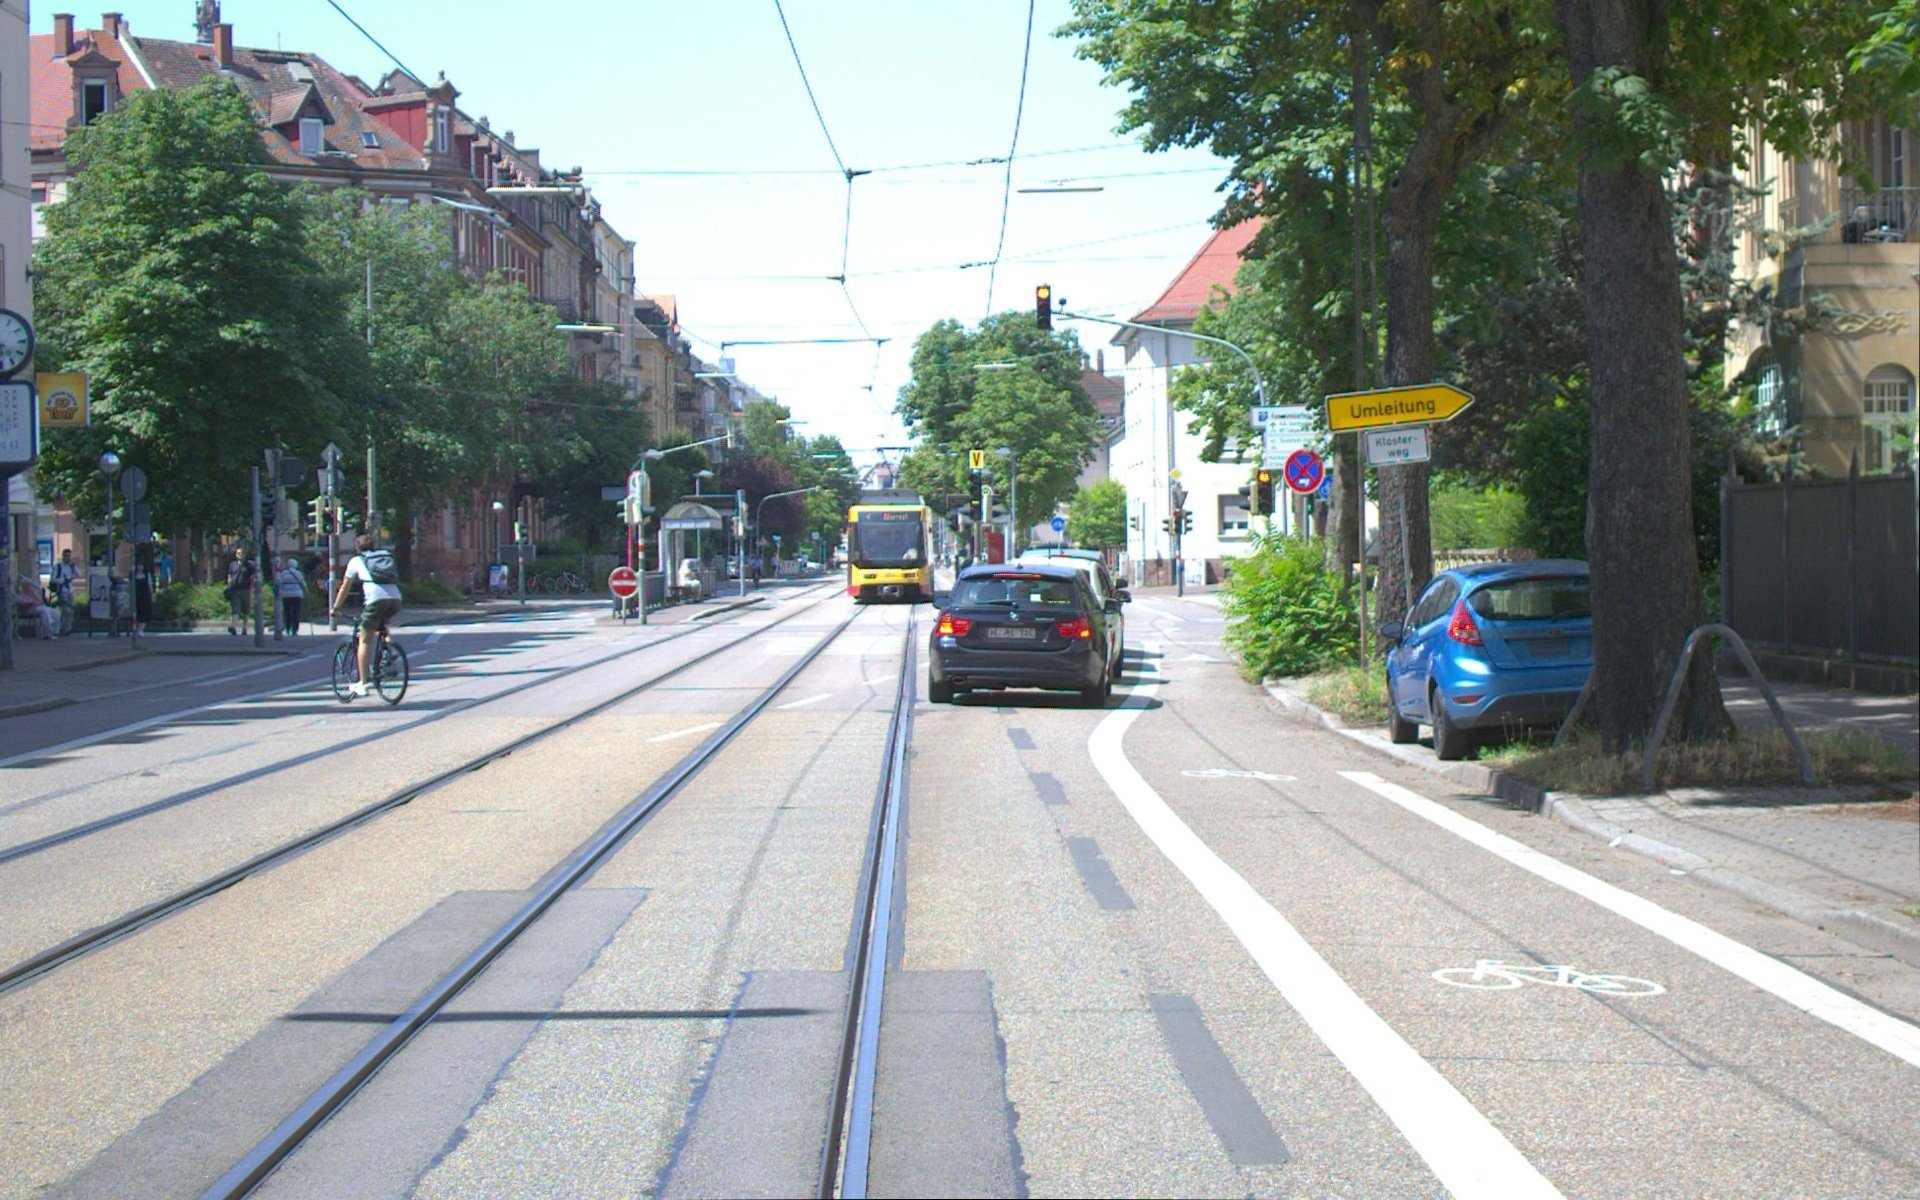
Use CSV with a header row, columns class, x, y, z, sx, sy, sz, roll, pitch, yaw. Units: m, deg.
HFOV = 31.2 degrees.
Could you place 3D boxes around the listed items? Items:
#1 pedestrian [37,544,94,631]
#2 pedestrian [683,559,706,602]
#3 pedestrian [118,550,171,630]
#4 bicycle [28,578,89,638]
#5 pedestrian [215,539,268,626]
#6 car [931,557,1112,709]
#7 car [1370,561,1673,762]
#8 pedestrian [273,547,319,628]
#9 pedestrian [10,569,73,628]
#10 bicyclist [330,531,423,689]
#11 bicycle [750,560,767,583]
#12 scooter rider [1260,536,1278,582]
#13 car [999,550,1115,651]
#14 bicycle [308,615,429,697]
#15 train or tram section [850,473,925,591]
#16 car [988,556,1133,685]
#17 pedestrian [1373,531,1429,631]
class,x,y,z,sx,sy,sz,roll,pitch,yaw
pedestrian,-17.923,-0.250,68.894,0.773,1.726,0.862,0,1,-44
pedestrian,-7.692,-0.571,99.654,0.613,1.238,0.628,-1,1,-6
pedestrian,-17.008,-0.216,71.705,0.860,1.630,1.026,-1,1,-1
bicycle,-17.810,0.160,67.903,0.543,1.125,1.682,-1,-1,-37
pedestrian,-15.720,-0.398,75.228,0.900,1.884,1.165,0,1,-1
car,0.647,0.289,35.519,1.722,1.404,4.565,1,1,1
car,4.348,0.430,27.123,1.677,1.438,3.721,-1,1,-1
pedestrian,-14.254,-0.275,73.835,0.916,1.717,0.840,-1,1,-8
pedestrian,-17.185,-0.026,64.319,0.915,1.074,0.883,-1,1,1
bicyclist,-6.241,0.106,36.764,0.756,1.657,0.831,1,0,-26
bicycle,-9.679,-1.385,165.217,0.729,1.098,1.715,-1,1,-1
scooter rider,11.498,-1.535,127.913,0.590,1.681,0.528,-1,1,-5
car,1.568,-0.022,54.438,1.691,1.508,3.821,1,1,3
bicycle,-6.356,0.588,36.889,0.752,0.815,1.820,-1,1,-27
train or tram section,-2.219,-2.108,107.206,2.190,3.470,8.846,-1,1,-1
car,1.239,0.215,42.373,1.685,1.479,3.684,-1,1,2
pedestrian,7.376,-0.317,57.528,0.857,1.640,0.836,-1,1,3
